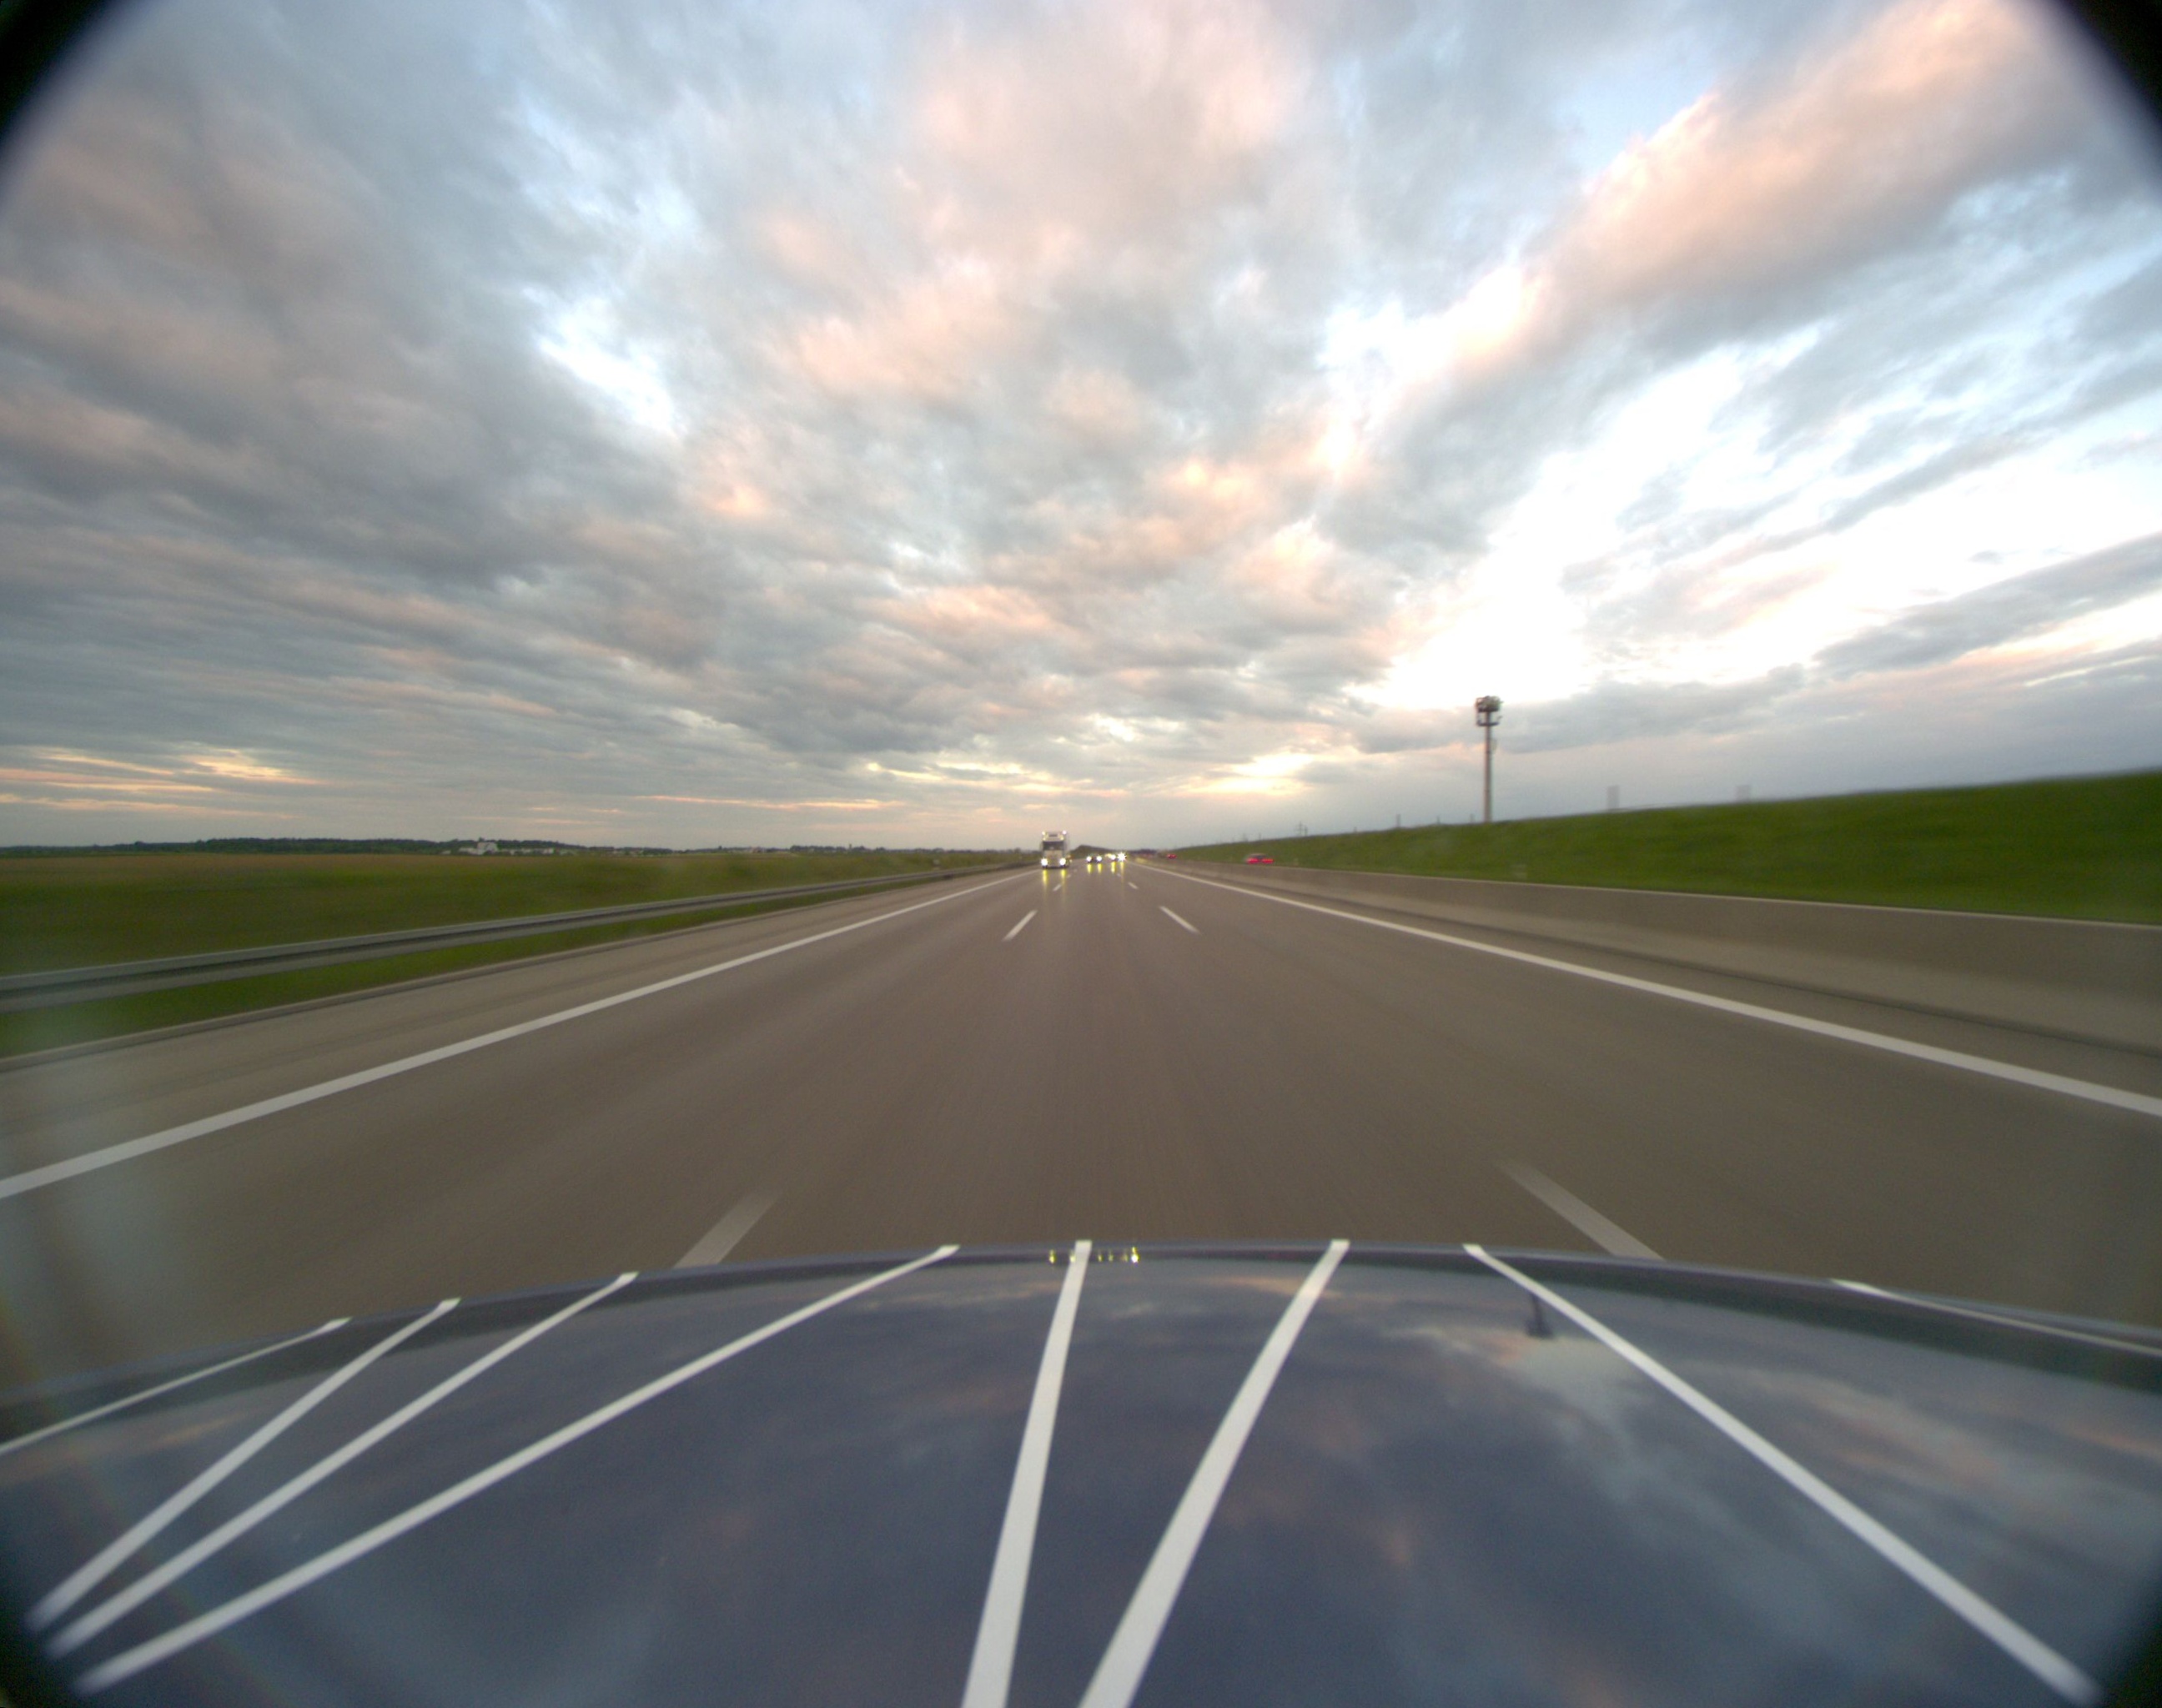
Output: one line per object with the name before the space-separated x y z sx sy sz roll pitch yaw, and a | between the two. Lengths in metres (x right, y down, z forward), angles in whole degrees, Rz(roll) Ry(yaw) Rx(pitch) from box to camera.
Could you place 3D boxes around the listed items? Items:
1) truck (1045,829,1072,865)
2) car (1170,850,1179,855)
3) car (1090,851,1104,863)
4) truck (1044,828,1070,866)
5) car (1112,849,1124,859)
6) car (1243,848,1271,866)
truck | -2.548 -0.820 90.822 2.597 3.999 12.985 -1 0 1
car | 25.196 -0.396 204.971 1.866 1.544 4.581 0 0 1
car | 2.356 0.370 111.917 1.998 1.652 4.851 -2 1 1
truck | -2.608 -0.746 84.281 2.597 3.999 5.859 -1 0 1
car | 6.548 -0.017 135.192 1.998 1.652 3.999 -2 1 1
car | 16.644 0.275 71.983 1.857 1.583 4.106 0 0 1
